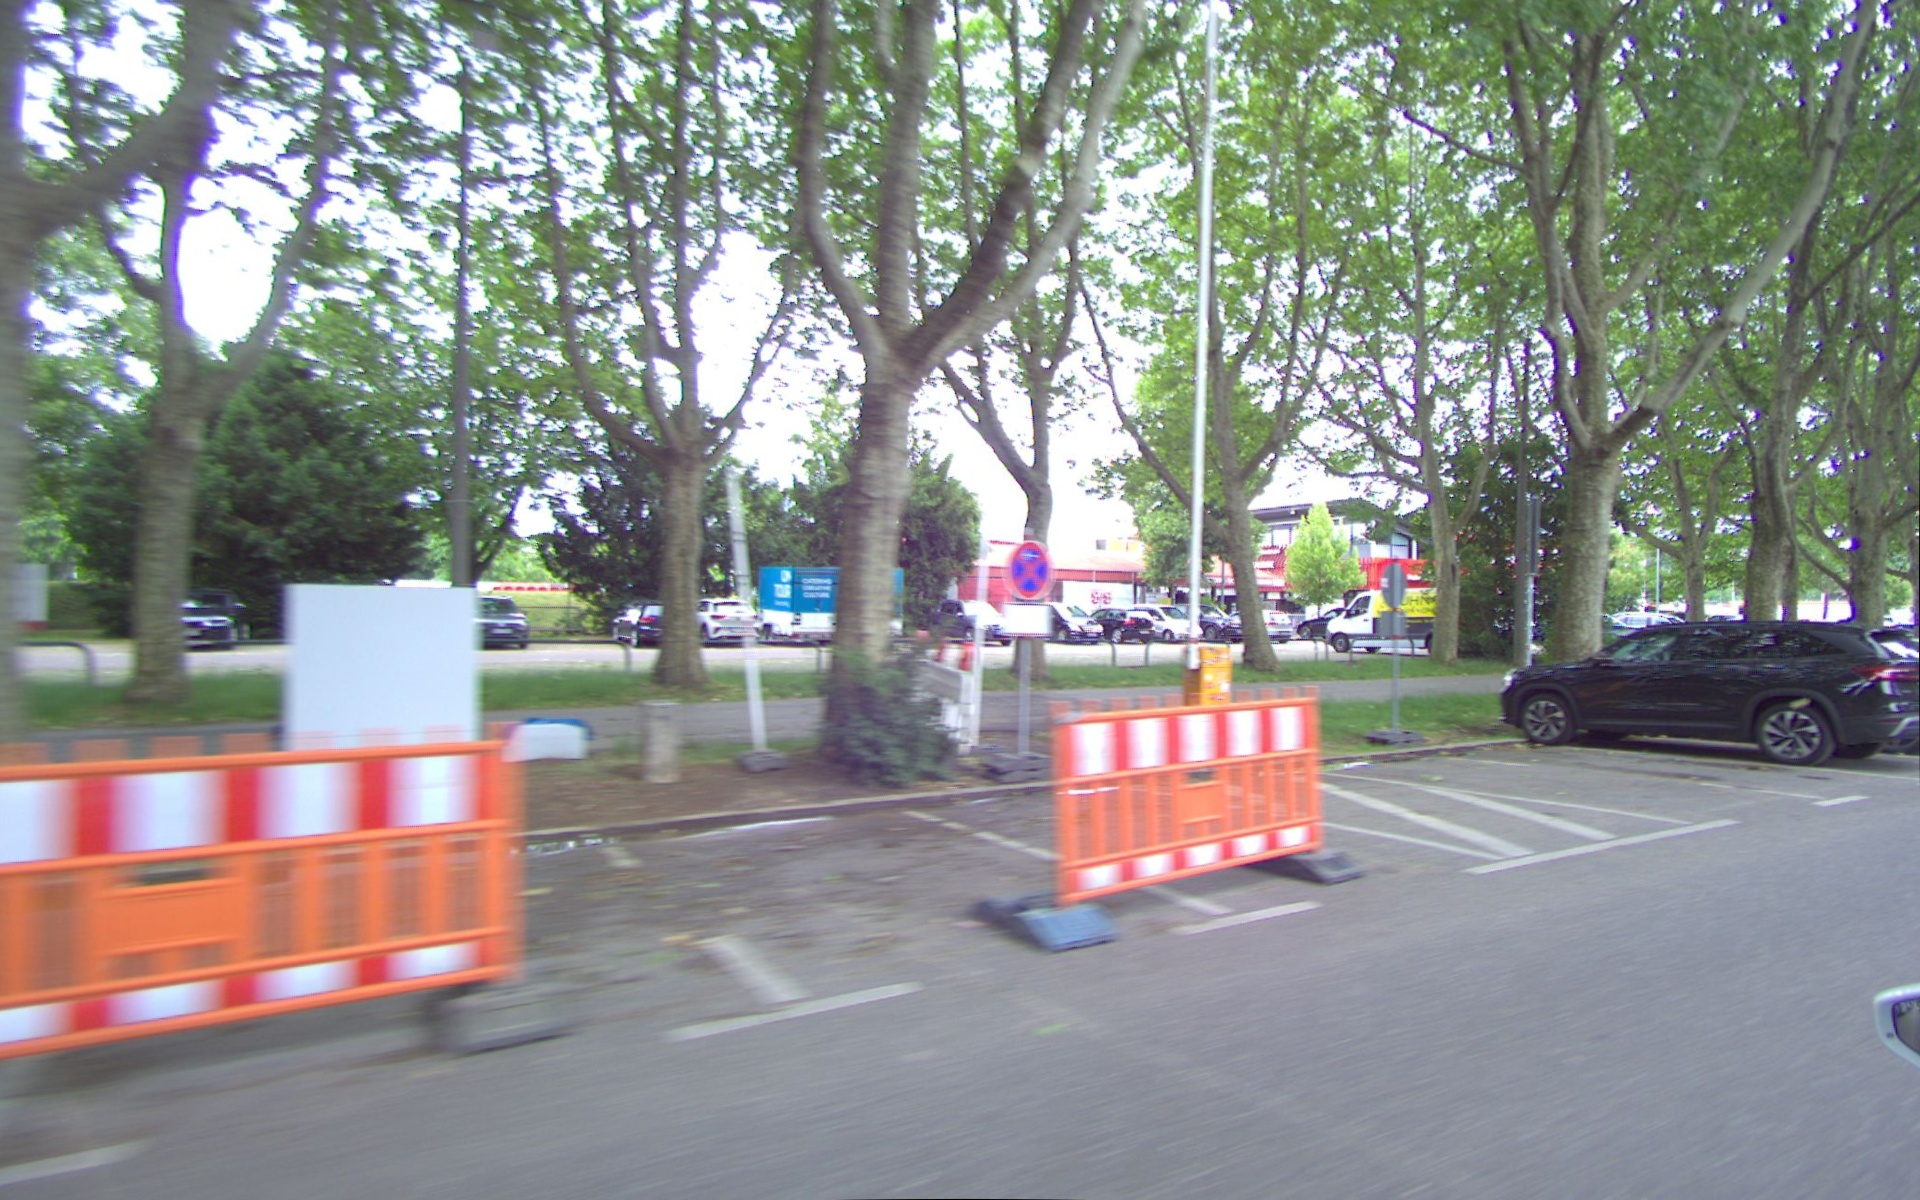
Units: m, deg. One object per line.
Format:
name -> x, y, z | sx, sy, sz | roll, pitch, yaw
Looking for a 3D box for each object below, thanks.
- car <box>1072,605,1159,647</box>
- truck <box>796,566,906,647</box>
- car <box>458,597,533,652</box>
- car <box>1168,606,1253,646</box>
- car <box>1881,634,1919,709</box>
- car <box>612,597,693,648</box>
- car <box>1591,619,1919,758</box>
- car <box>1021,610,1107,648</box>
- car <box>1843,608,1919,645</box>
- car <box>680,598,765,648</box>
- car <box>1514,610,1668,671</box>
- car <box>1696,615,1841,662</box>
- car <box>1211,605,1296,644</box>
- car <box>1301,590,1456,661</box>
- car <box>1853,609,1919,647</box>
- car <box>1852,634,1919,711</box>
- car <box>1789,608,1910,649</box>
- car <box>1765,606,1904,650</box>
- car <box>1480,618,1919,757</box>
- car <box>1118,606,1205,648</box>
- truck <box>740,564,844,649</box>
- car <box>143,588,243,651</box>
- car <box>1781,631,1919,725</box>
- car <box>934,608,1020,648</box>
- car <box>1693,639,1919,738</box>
car -> 6.468, 1.046, 42.175 | 1.519, 1.611, 3.734 | 1, 1, -32
truck -> -4.184, 0.202, 37.585 | 2.180, 2.779, 5.212 | 1, 1, -30
car -> -13.998, 0.690, 30.151 | 1.659, 1.506, 3.782 | 1, 1, -31
car -> 11.066, 1.129, 44.678 | 1.669, 1.611, 3.980 | 1, 1, -21
car -> 20.410, 1.380, 19.187 | 1.639, 1.503, 3.803 | 1, -3, -25
car -> -10.029, 0.689, 32.622 | 1.659, 1.506, 3.782 | 1, 1, -31
car -> 11.709, 1.165, 14.154 | 1.742, 1.699, 4.450 | 1, -3, -31
car -> 4.178, 1.158, 40.811 | 1.519, 1.368, 3.734 | 1, 1, -32
car -> 56.569, 1.584, 60.177 | 2.147, 2.042, 5.060 | 1, 1, -26
car -> -8.004, 0.738, 33.661 | 1.693, 1.506, 3.782 | 1, 1, -31
car -> 26.073, 1.602, 41.723 | 2.147, 2.262, 5.060 | 1, 1, -26
car -> 39.265, 1.810, 48.936 | 2.147, 2.042, 5.060 | 1, 1, -26
car -> 13.351, 1.103, 45.898 | 1.669, 1.611, 3.980 | 1, 1, -21
car -> 14.467, 0.797, 35.069 | 1.518, 2.262, 5.051 | 1, 1, -31
car -> 53.596, 1.596, 56.135 | 2.147, 2.042, 5.060 | 1, 1, -26
car -> 18.276, 1.268, 17.464 | 1.639, 1.371, 3.804 | 1, -3, -24
car -> 47.610, 1.484, 53.865 | 2.147, 2.042, 4.336 | 1, 1, -26
car -> 45.656, 1.423, 52.604 | 2.147, 2.042, 5.060 | 1, 1, -26
car -> 9.518, 1.019, 12.958 | 1.977, 1.446, 4.641 | 1, -3, -31
car -> 8.603, 1.123, 43.124 | 1.519, 1.611, 3.734 | 1, 1, -32
truck -> -6.061, 0.183, 35.711 | 1.905, 2.779, 5.287 | 1, 1, -30
car -> -20.060, 0.466, 26.404 | 1.659, 1.506, 3.782 | 1, 1, -31
car -> 16.122, 1.256, 16.450 | 1.643, 1.503, 3.795 | 1, -3, -31
car -> 0.589, 1.035, 38.040 | 1.518, 1.368, 3.735 | 1, 1, -31
car -> 14.017, 1.300, 15.363 | 1.850, 1.399, 4.146 | 1, -3, -31
